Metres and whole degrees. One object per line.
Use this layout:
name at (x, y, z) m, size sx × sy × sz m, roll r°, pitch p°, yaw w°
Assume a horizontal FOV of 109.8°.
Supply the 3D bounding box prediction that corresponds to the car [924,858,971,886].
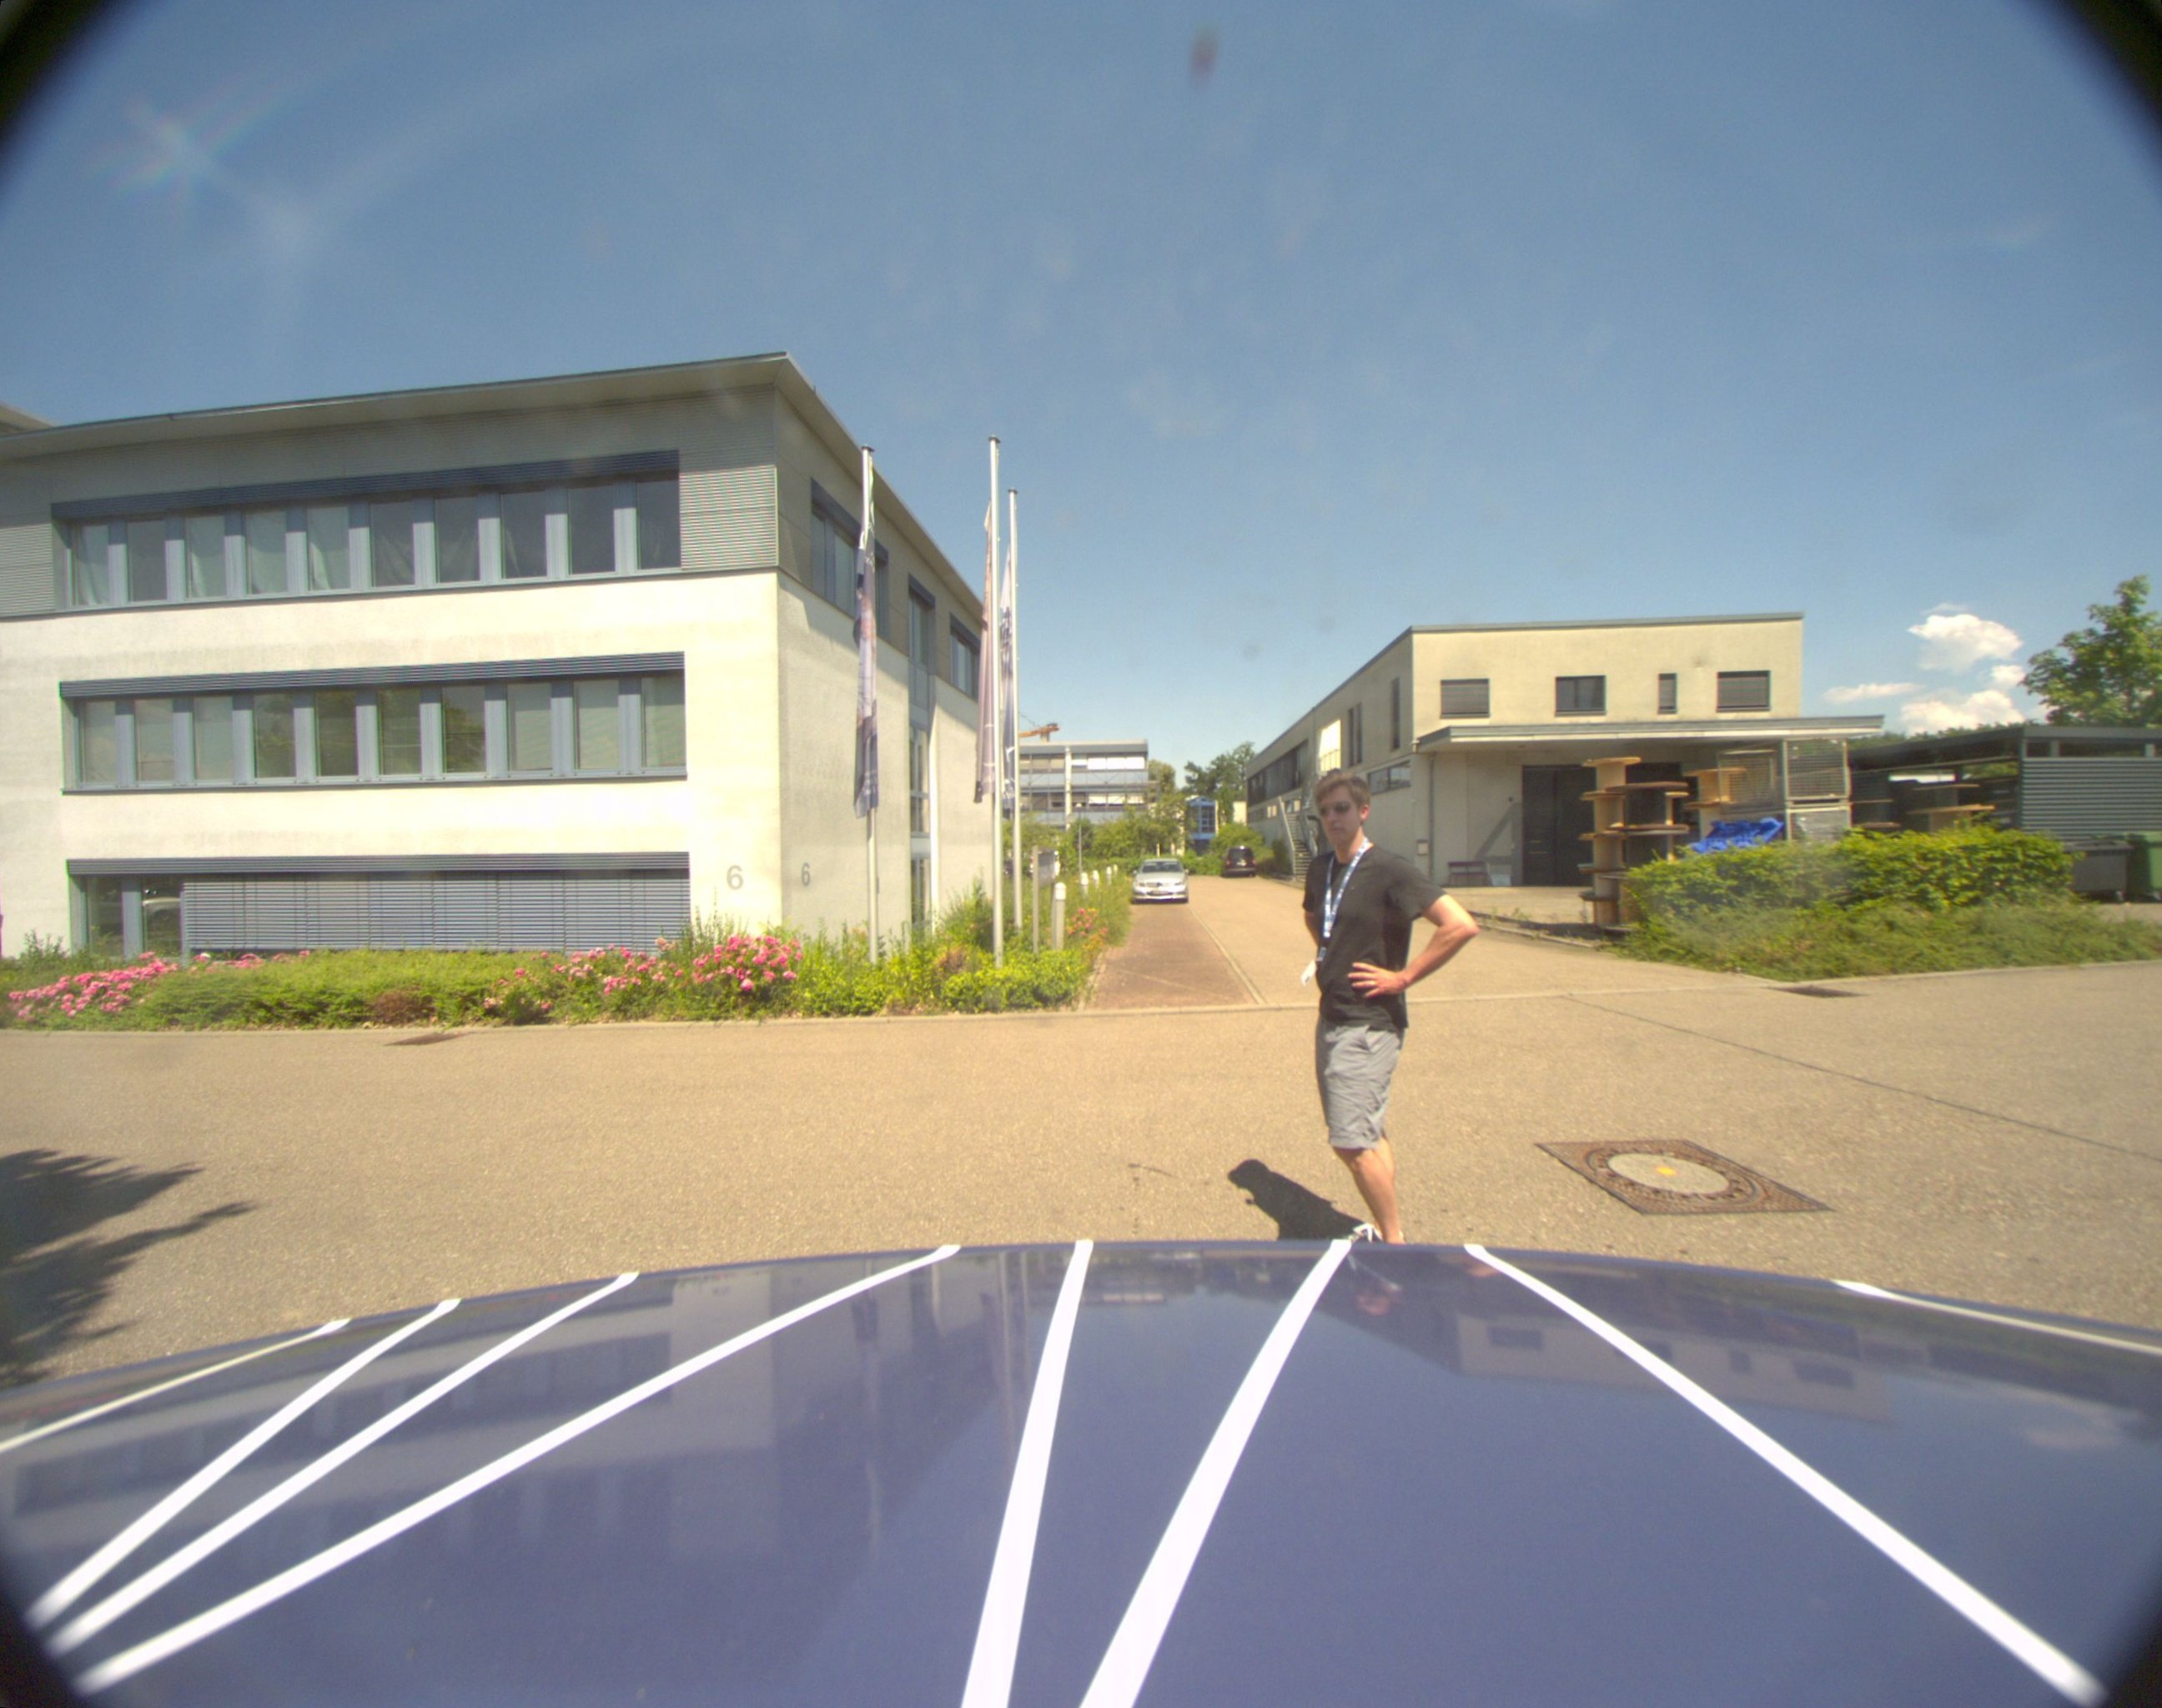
car at (-8.181, 1.081, 46.805) m, size 1.787 × 1.537 × 4.001 m, roll -2°, pitch 1°, yaw 5°

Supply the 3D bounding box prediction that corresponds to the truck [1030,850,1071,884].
truck at (-1.761, 0.732, 45.407) m, size 1.998 × 1.882 × 4.001 m, roll -2°, pitch 0°, yaw 4°

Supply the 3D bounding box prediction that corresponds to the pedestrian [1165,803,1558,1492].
pedestrian at (0.944, 0.766, 2.599) m, size 0.906 × 1.809 × 0.858 m, roll -3°, pitch 1°, yaw -37°

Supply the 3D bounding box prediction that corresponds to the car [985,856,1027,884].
car at (-4.520, 0.947, 46.426) m, size 1.787 × 1.537 × 4.001 m, roll -2°, pitch 1°, yaw 5°

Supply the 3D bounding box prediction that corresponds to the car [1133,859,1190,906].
car at (2.762, 0.897, 25.385) m, size 1.710 × 1.383 × 3.813 m, roll -1°, pitch 1°, yaw 9°

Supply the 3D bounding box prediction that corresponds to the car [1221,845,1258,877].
car at (9.419, 0.385, 45.421) m, size 1.786 × 1.793 × 4.001 m, roll -2°, pitch 1°, yaw 7°

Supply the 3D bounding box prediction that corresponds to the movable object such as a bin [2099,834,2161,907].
movable object such as a bin at (20.148, 0.294, 14.227) m, size 1.071 × 1.329 × 0.760 m, roll -2°, pitch 1°, yaw 10°

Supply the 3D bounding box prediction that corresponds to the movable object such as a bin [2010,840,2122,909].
movable object such as a bin at (18.841, 0.382, 14.556) m, size 1.071 × 1.263 × 0.760 m, roll -2°, pitch 1°, yaw 10°
